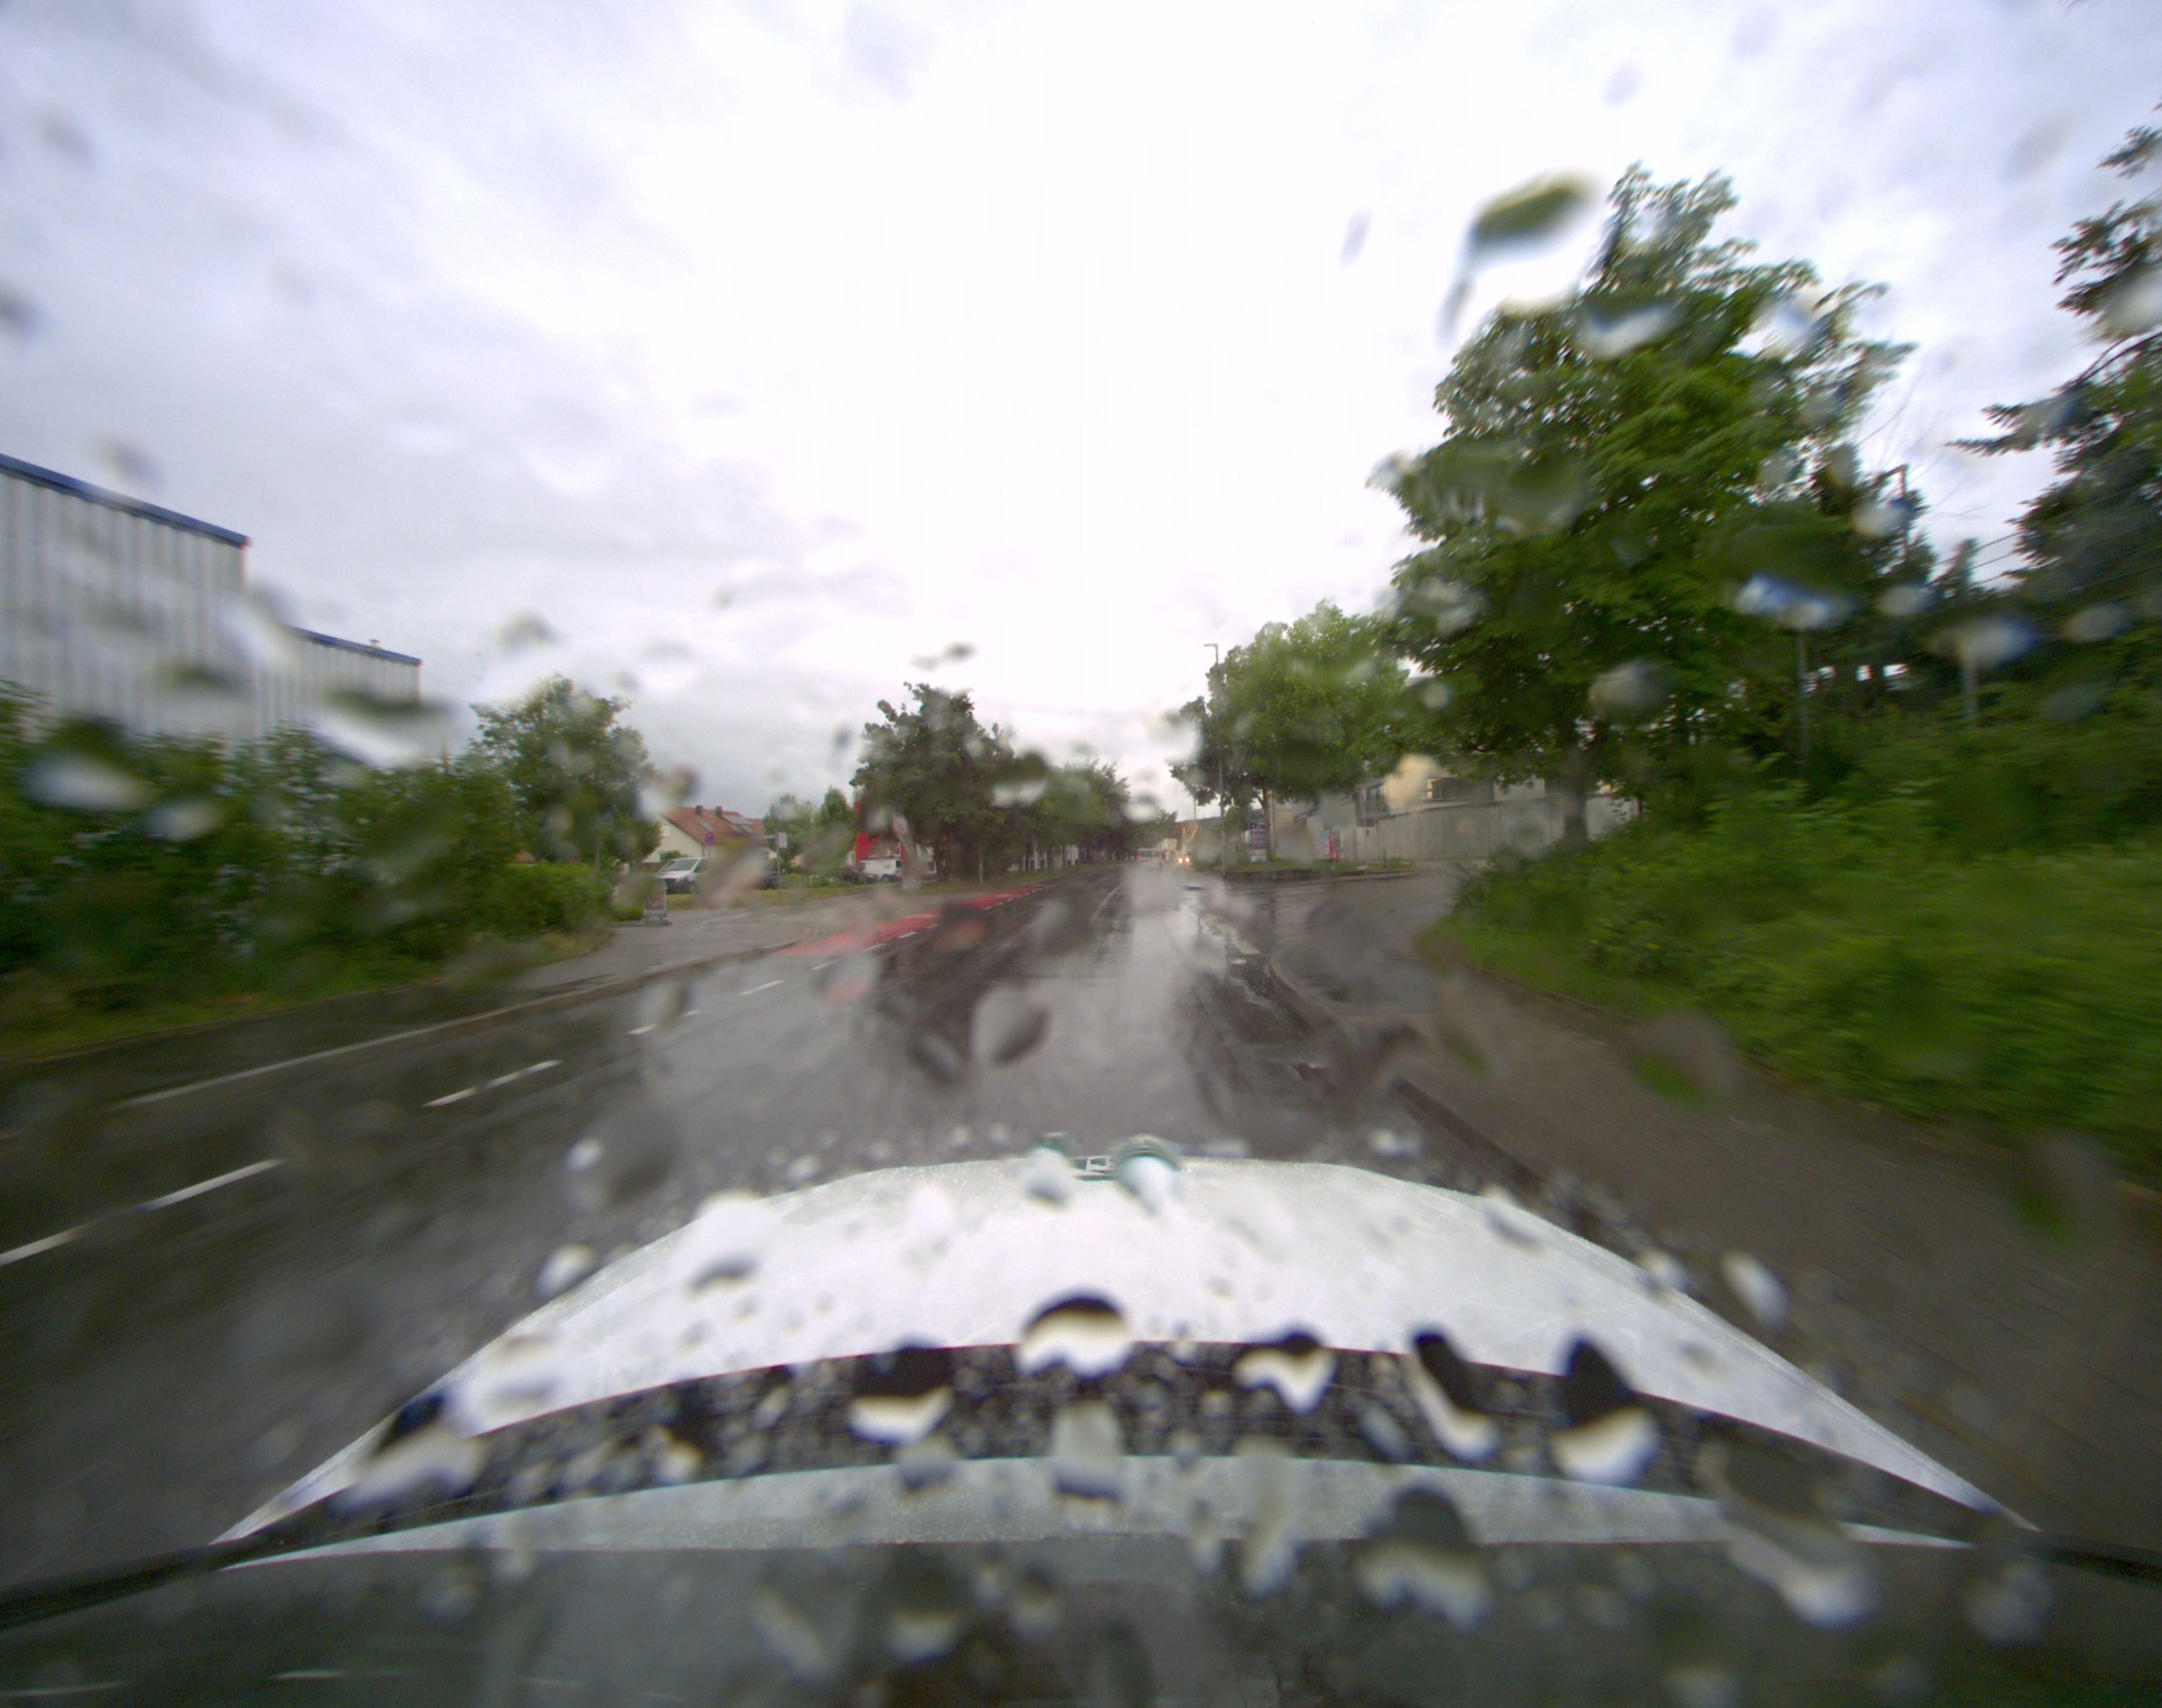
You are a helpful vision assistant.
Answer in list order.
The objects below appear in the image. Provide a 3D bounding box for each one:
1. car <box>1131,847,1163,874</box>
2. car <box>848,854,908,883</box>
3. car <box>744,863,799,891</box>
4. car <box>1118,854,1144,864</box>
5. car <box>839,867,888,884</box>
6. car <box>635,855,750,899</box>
[{"bbox_3d":[4.908,0.449,60.788,2.109,1.888,4.504,-1,1,1],"label":"car"},{"bbox_3d":[-17.593,1.247,70.713,4.450,2.310,2.191,-1,0,9],"label":"car"},{"bbox_3d":[-19.476,1.423,51.420,2.110,1.556,4.160,-1,1,-4],"label":"car"},{"bbox_3d":[7.852,0.767,128.092,3.876,1.284,1.586,-3,-2,9],"label":"car"},{"bbox_3d":[-17.613,1.758,65.985,3.386,1.244,1.706,-1,1,3],"label":"car"},{"bbox_3d":[-18.042,0.997,38.230,2.022,1.822,5.623,-1,1,9],"label":"car"}]
